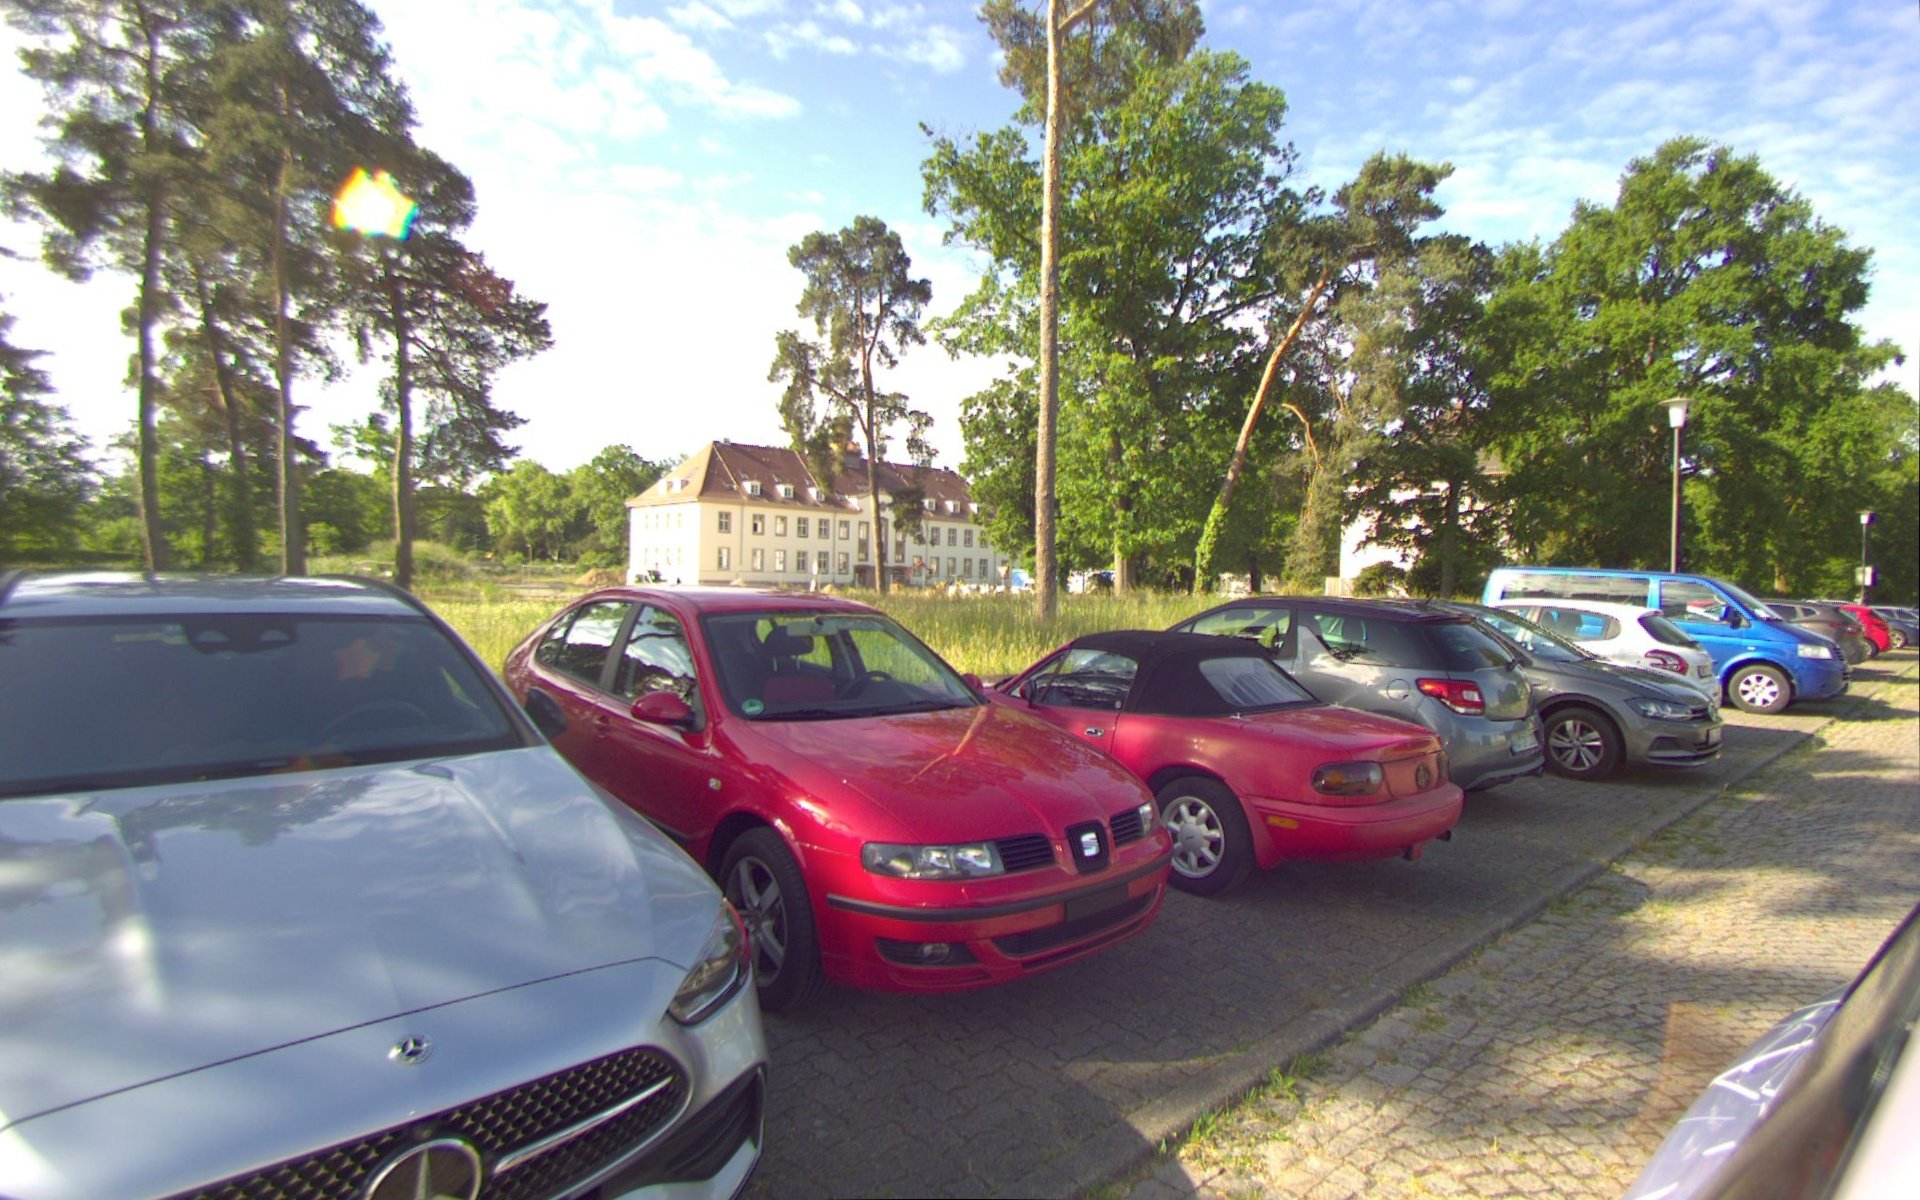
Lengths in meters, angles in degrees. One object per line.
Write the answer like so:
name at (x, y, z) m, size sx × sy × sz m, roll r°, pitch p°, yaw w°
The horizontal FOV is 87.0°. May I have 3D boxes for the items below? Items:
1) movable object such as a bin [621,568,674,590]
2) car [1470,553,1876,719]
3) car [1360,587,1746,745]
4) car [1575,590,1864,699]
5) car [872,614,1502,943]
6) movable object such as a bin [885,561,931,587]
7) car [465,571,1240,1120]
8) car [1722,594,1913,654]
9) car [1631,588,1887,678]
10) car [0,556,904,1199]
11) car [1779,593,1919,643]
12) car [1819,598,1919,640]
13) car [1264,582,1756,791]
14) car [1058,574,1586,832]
movable object such as a bin at (-31.033, -2.072, 100.371) m, size 5.707 × 2.038 × 2.095 m, roll 2°, pitch 1°, yaw 38°
car at (10.806, 0.389, 15.661) m, size 1.966 × 2.038 × 4.762 m, roll 0°, pitch 3°, yaw -42°
car at (6.930, 0.648, 12.093) m, size 1.606 × 1.510 × 3.650 m, roll 0°, pitch 2°, yaw -42°
car at (12.841, 0.667, 17.258) m, size 1.583 × 1.485 × 3.723 m, roll 0°, pitch 3°, yaw -45°
car at (1.121, 0.782, 6.088) m, size 1.510 × 1.258 × 3.465 m, roll 0°, pitch 1°, yaw -42°
movable object such as a bin at (-6.003, -3.002, 117.149) m, size 4.977 × 2.937 × 2.180 m, roll 0°, pitch 1°, yaw -36°
car at (-0.864, 0.653, 4.875) m, size 1.628 × 1.466 × 3.984 m, roll 0°, pitch 2°, yaw -43°
car at (24.281, 0.613, 28.758) m, size 1.514 × 1.514 × 3.991 m, roll 0°, pitch 1°, yaw -43°
car at (17.047, 0.617, 21.738) m, size 1.757 × 1.631 × 4.111 m, roll 0°, pitch 2°, yaw -44°
car at (-2.287, 0.625, 3.218) m, size 1.759 × 1.405 × 4.404 m, roll 0°, pitch 3°, yaw -44°
car at (31.706, 0.600, 35.626) m, size 1.623 × 1.618 × 4.267 m, roll 0°, pitch 1°, yaw -43°
car at (35.367, 0.695, 38.596) m, size 1.717 × 1.484 × 3.806 m, roll 0°, pitch 1°, yaw -42°
car at (5.112, 0.642, 9.788) m, size 1.727 × 1.468 × 3.788 m, roll 0°, pitch 3°, yaw -41°
car at (2.740, 0.611, 8.248) m, size 1.638 × 1.472 × 3.669 m, roll 0°, pitch 3°, yaw -43°
